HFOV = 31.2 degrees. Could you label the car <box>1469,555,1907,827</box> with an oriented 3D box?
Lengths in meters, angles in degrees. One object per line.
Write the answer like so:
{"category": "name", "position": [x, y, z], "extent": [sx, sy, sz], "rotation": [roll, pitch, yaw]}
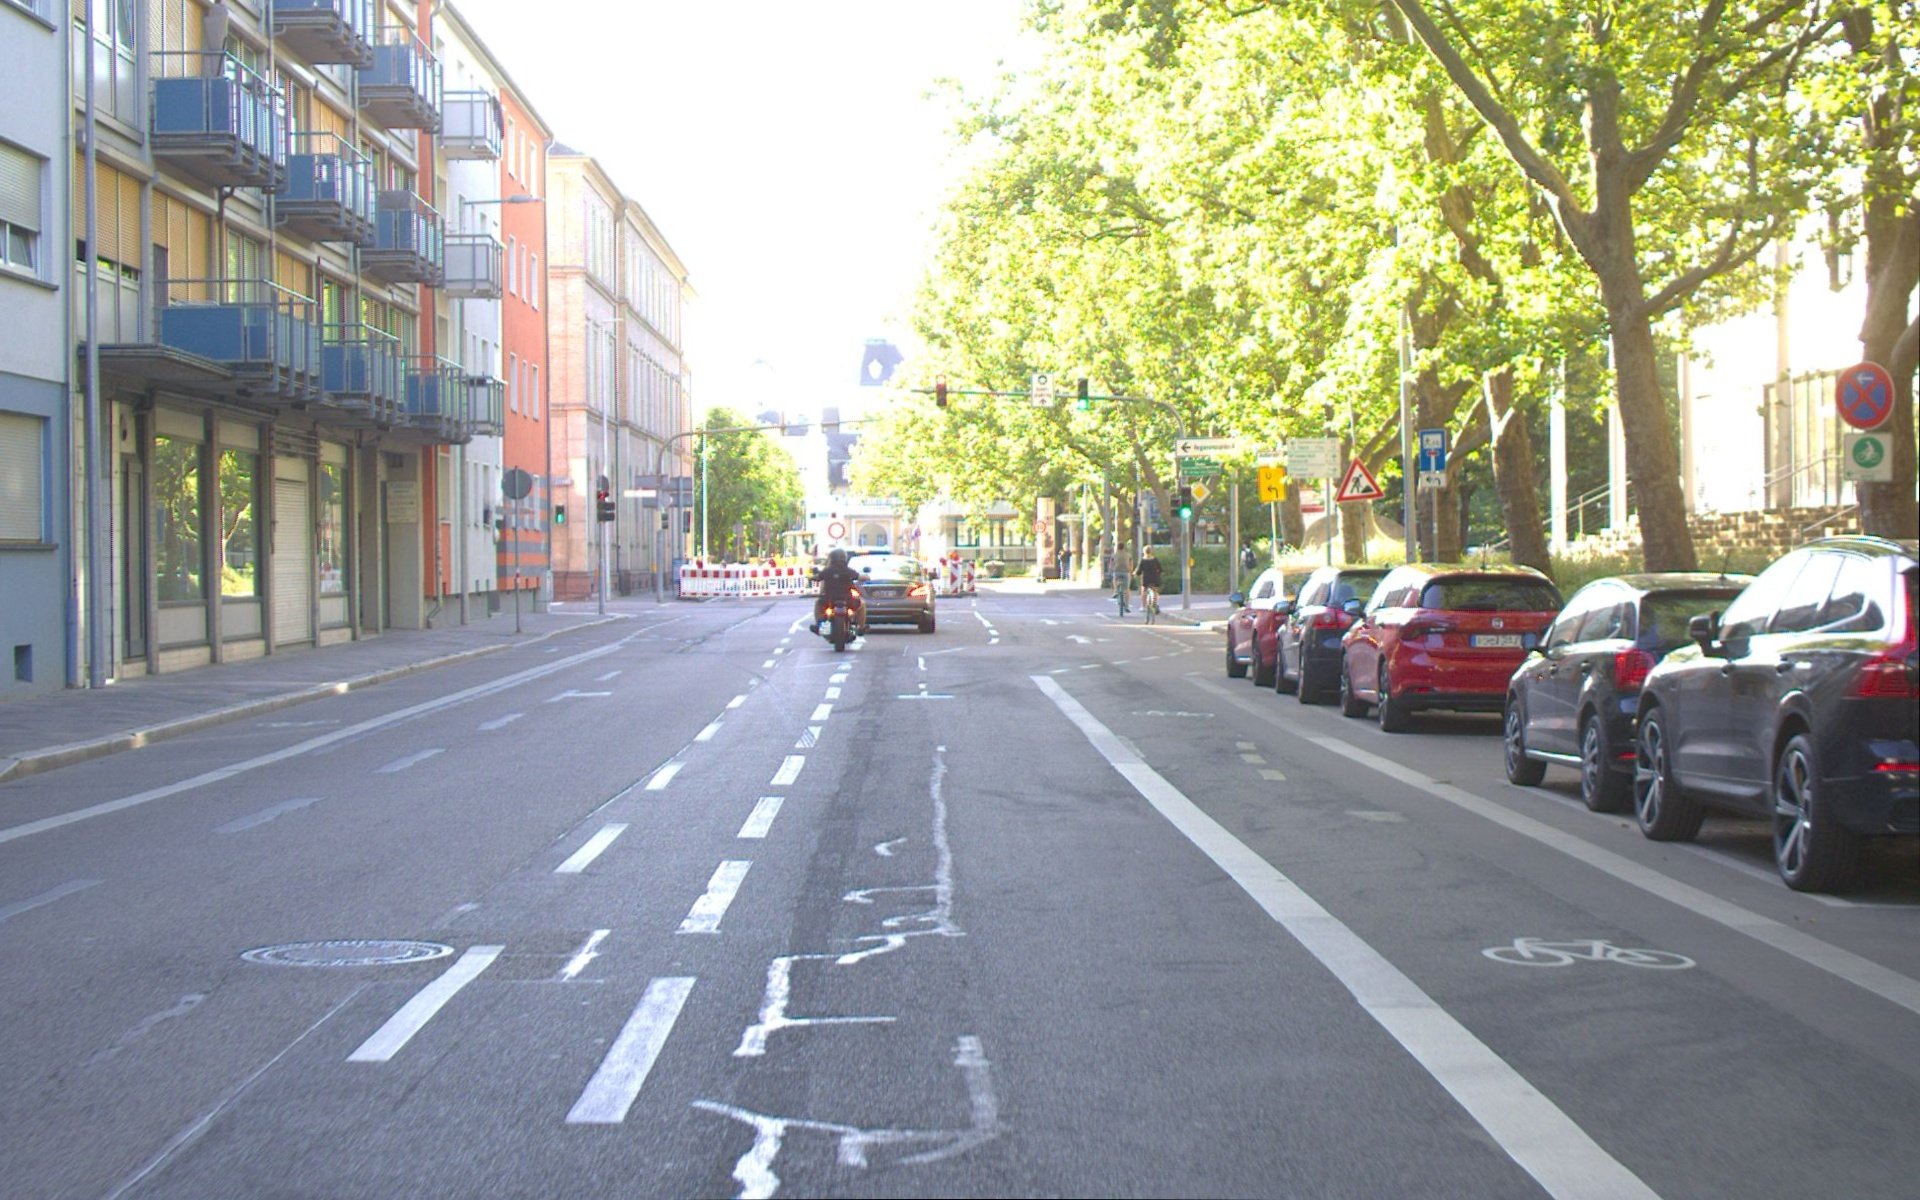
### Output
{"category": "car", "position": [4.505, 0.502, 21.869], "extent": [1.692, 1.498, 4.021], "rotation": [2, 1, -3]}

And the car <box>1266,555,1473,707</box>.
{"category": "car", "position": [4.320, 0.287, 36.779], "extent": [1.693, 1.461, 4.066], "rotation": [2, 1, 0]}

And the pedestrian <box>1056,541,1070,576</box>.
{"category": "pedestrian", "position": [4.640, -1.885, 155.122], "extent": [0.592, 1.573, 0.527], "rotation": [1, 0, -1]}

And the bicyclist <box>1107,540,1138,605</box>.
{"category": "bicyclist", "position": [3.864, -0.649, 81.876], "extent": [0.656, 1.525, 0.906], "rotation": [1, 0, -2]}

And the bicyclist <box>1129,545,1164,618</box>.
{"category": "bicyclist", "position": [3.965, -0.390, 73.122], "extent": [0.656, 1.525, 0.852], "rotation": [1, 0, -2]}

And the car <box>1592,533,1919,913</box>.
{"category": "car", "position": [4.575, 0.506, 17.107], "extent": [1.775, 1.622, 4.621], "rotation": [2, 1, -2]}

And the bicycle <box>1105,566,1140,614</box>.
{"category": "bicycle", "position": [3.857, -0.246, 81.826], "extent": [0.656, 1.107, 2.186], "rotation": [1, 1, -2]}

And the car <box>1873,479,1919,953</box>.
{"category": "car", "position": [4.956, 0.514, 11.417], "extent": [1.824, 1.835, 4.901], "rotation": [1, 1, -9]}

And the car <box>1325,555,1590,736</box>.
{"category": "car", "position": [4.463, 0.362, 31.415], "extent": [1.693, 1.474, 4.319], "rotation": [2, 1, -1]}

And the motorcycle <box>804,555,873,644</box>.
{"category": "motorcycle", "position": [-1.850, -0.021, 52.665], "extent": [1.012, 1.302, 2.673], "rotation": [-1, 1, -2]}

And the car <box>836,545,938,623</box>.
{"category": "car", "position": [-1.373, -0.319, 64.053], "extent": [1.828, 1.415, 3.815], "rotation": [0, 1, -2]}

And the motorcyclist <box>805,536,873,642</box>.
{"category": "motorcyclist", "position": [-1.859, -0.173, 52.828], "extent": [1.012, 1.596, 1.406], "rotation": [-1, 1, -2]}

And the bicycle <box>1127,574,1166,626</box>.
{"category": "bicycle", "position": [3.960, -0.013, 73.096], "extent": [0.656, 1.066, 1.927], "rotation": [1, 1, -2]}

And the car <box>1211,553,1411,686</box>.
{"category": "car", "position": [4.178, 0.194, 41.534], "extent": [1.692, 1.444, 4.437], "rotation": [2, 1, -3]}
